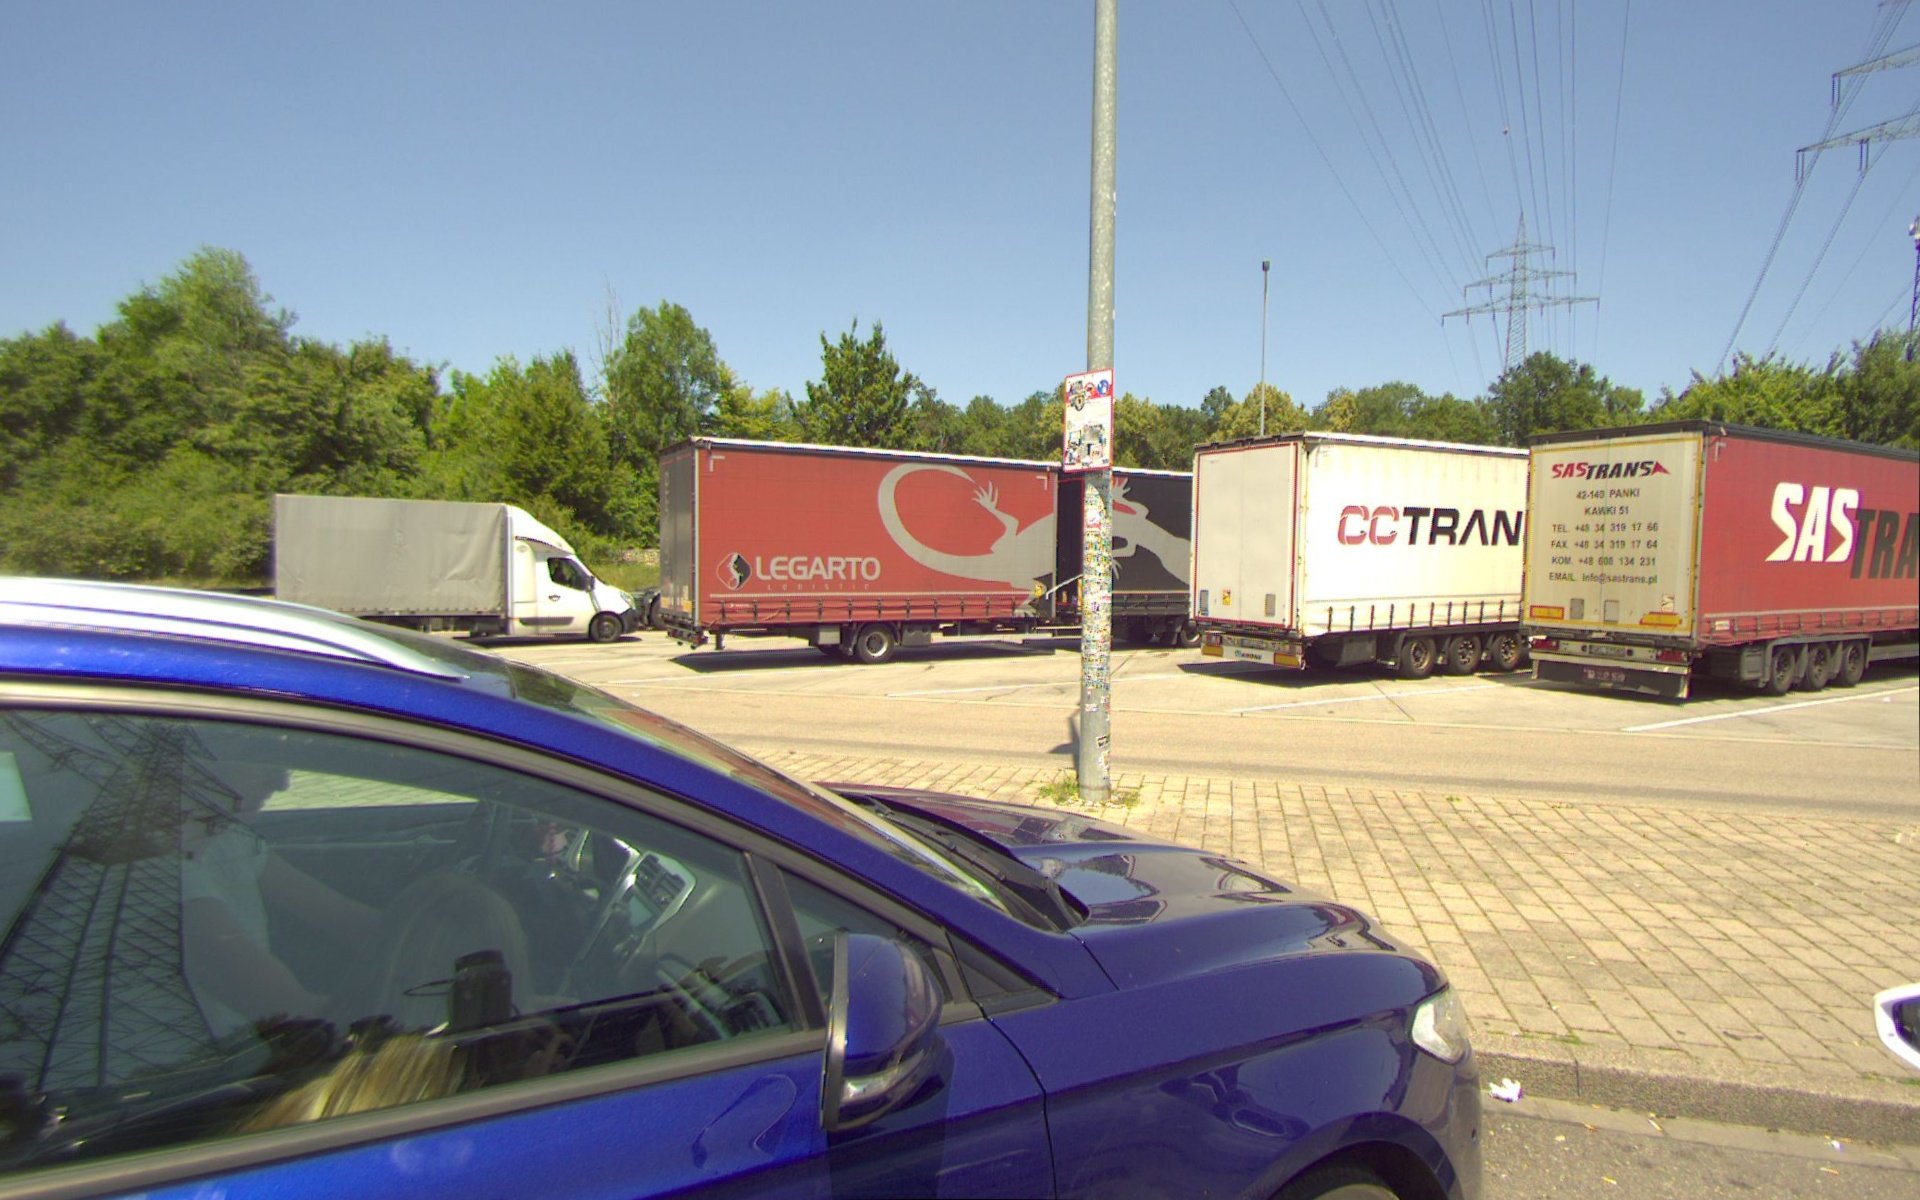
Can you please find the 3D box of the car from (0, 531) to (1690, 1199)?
[{"bbox_3d":[-0.983,0.668,1.478,4.362,1.437,1.731,1,0,-30],"label":"car"}]

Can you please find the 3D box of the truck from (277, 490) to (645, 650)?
[{"bbox_3d":[-11.040,-0.584,22.775,7.171,3.194,2.160,0,1,-30],"label":"truck"}]

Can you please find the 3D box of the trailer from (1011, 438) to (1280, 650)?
[{"bbox_3d":[4.497,-1.190,24.052,6.076,4.504,2.665,0,0,-30],"label":"trailer"}]

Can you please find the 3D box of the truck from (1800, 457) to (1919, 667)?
[{"bbox_3d":[21.449,-0.746,22.058,5.824,4.189,2.792,0,0,-30],"label":"truck"}]

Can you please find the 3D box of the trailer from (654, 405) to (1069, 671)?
[{"bbox_3d":[-1.799,-1.038,20.229,7.963,4.510,2.648,0,0,-31],"label":"trailer"}]

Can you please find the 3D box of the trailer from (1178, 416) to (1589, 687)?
[{"bbox_3d":[8.131,-0.757,18.863,8.189,4.208,2.741,0,1,-30],"label":"trailer"}]

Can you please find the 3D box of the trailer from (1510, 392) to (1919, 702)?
[{"bbox_3d":[15.266,-0.701,18.423,13.046,4.276,2.786,0,0,-31],"label":"trailer"}]

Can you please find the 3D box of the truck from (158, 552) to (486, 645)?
[{"bbox_3d":[-15.304,-0.027,24.605,6.538,2.040,1.984,0,0,-30],"label":"truck"}]
